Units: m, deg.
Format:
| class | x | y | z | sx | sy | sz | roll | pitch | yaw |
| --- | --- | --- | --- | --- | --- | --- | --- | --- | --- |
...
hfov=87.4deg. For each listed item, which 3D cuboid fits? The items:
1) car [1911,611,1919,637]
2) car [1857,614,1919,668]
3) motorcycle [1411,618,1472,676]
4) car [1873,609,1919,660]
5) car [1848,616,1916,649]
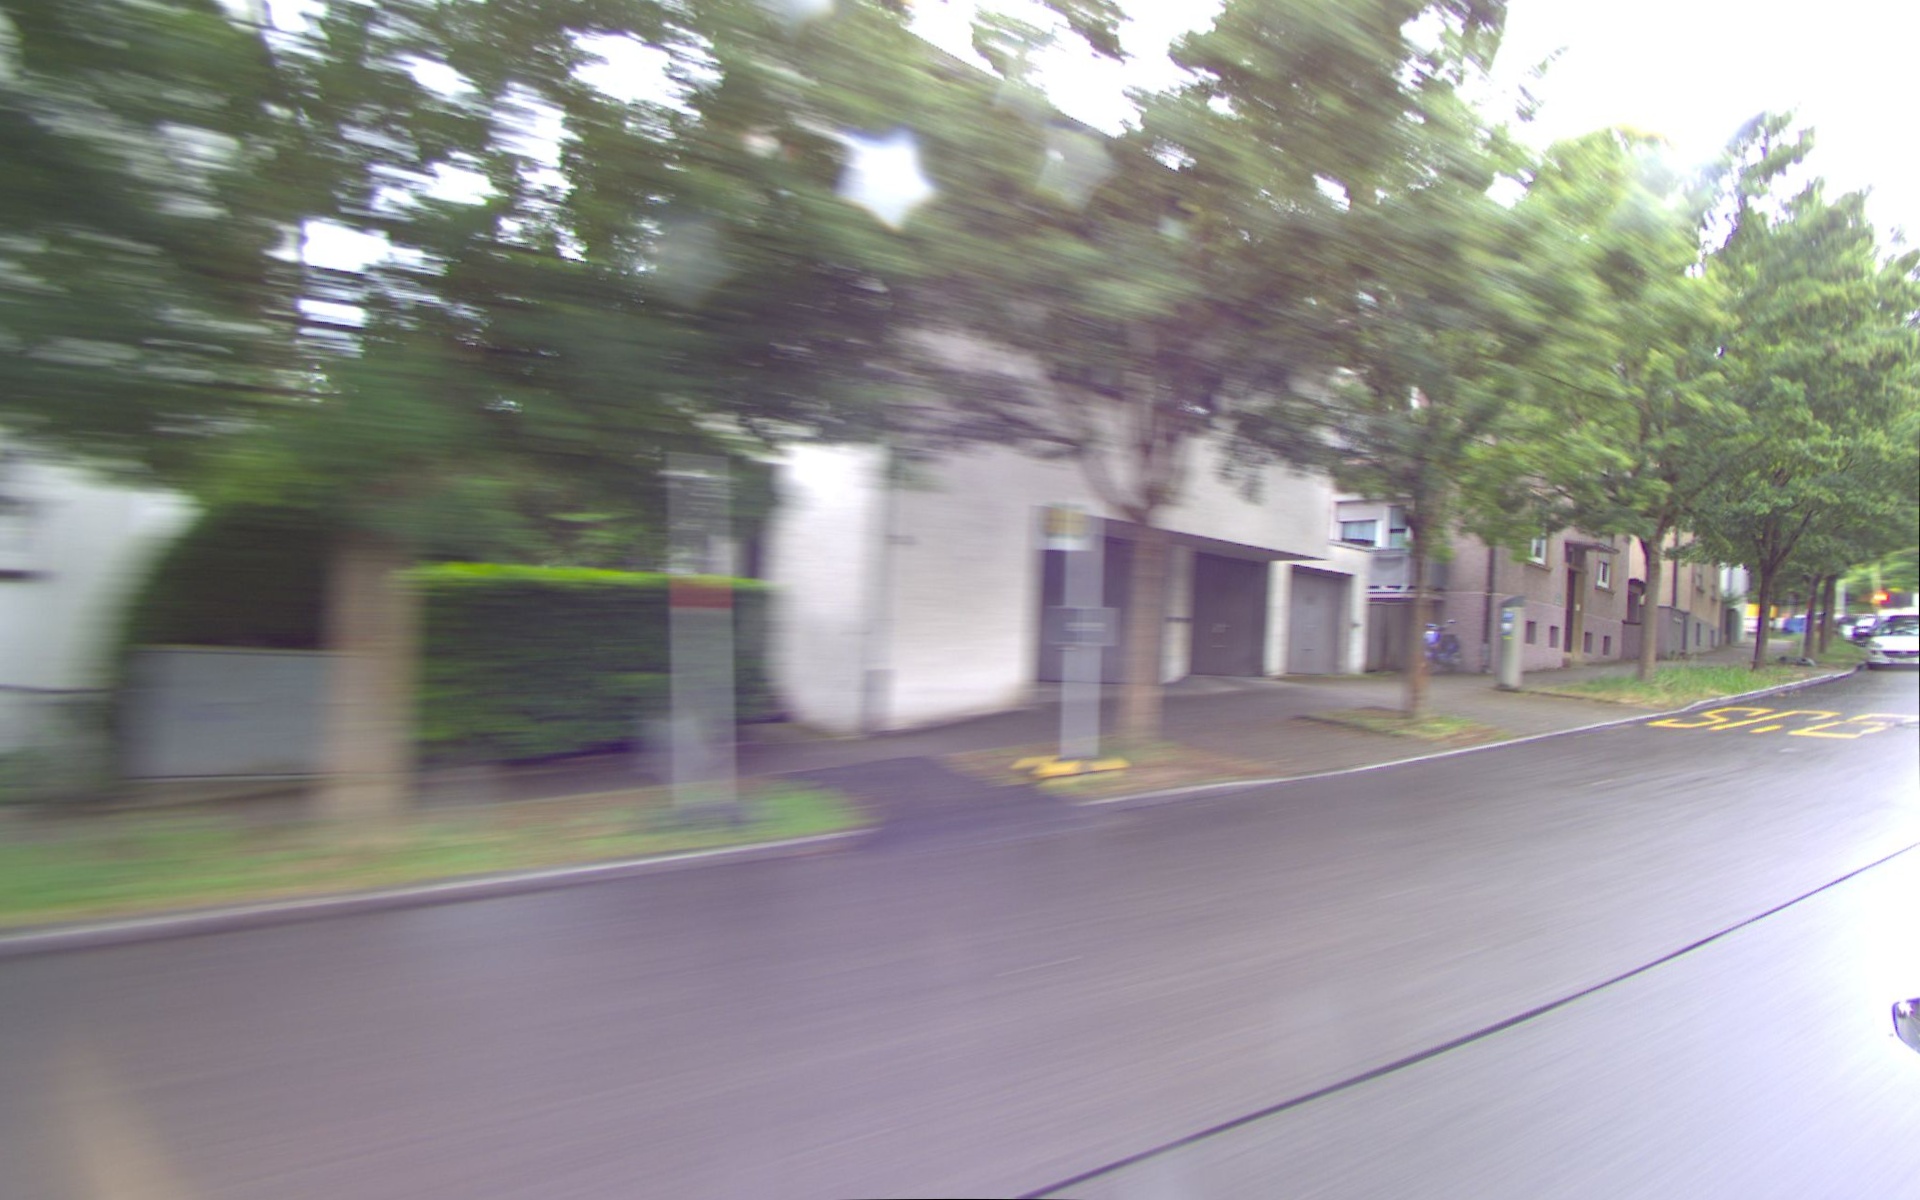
| class | x | y | z | sx | sy | sz | roll | pitch | yaw |
| --- | --- | --- | --- | --- | --- | --- | --- | --- | --- |
| car | 63.038 | 1.541 | 64.481 | 1.964 | 1.706 | 3.993 | 0 | -1 | 30 |
| car | 28.348 | 1.197 | 30.264 | 1.972 | 1.550 | 3.978 | -1 | -1 | 42 |
| motorcycle | 10.654 | 1.019 | 22.213 | 1.686 | 1.174 | 0.608 | -1 | 2 | -42 |
| car | 31.848 | 1.134 | 33.643 | 1.857 | 1.617 | 3.978 | -1 | -1 | 42 |
| car | 44.182 | 1.555 | 48.216 | 1.968 | 1.494 | 3.985 | -1 | -2 | 37 |
